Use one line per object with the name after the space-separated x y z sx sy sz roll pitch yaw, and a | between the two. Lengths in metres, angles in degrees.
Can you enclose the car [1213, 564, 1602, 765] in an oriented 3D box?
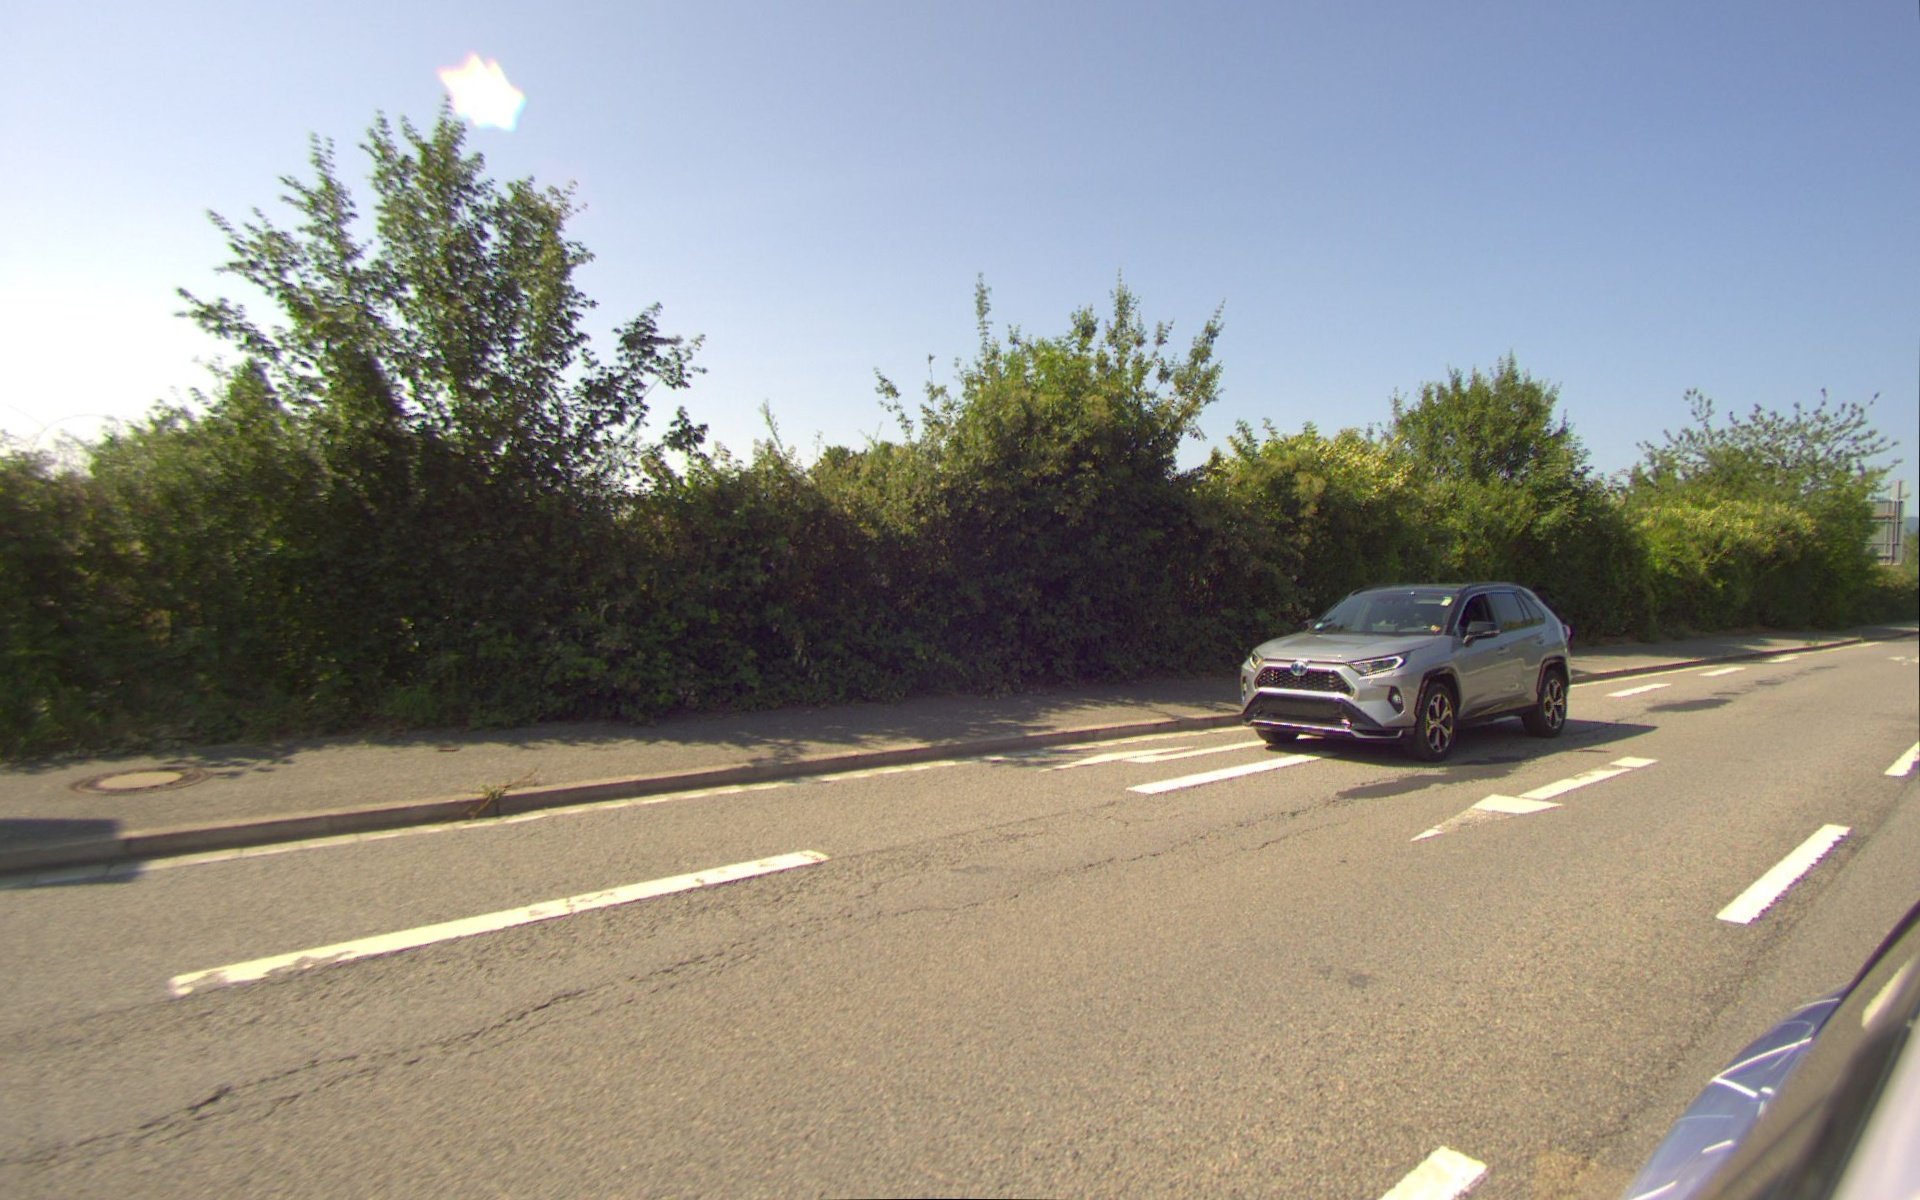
4.901 0.541 10.789 4.599 1.701 1.906 0 0 -39 | car
